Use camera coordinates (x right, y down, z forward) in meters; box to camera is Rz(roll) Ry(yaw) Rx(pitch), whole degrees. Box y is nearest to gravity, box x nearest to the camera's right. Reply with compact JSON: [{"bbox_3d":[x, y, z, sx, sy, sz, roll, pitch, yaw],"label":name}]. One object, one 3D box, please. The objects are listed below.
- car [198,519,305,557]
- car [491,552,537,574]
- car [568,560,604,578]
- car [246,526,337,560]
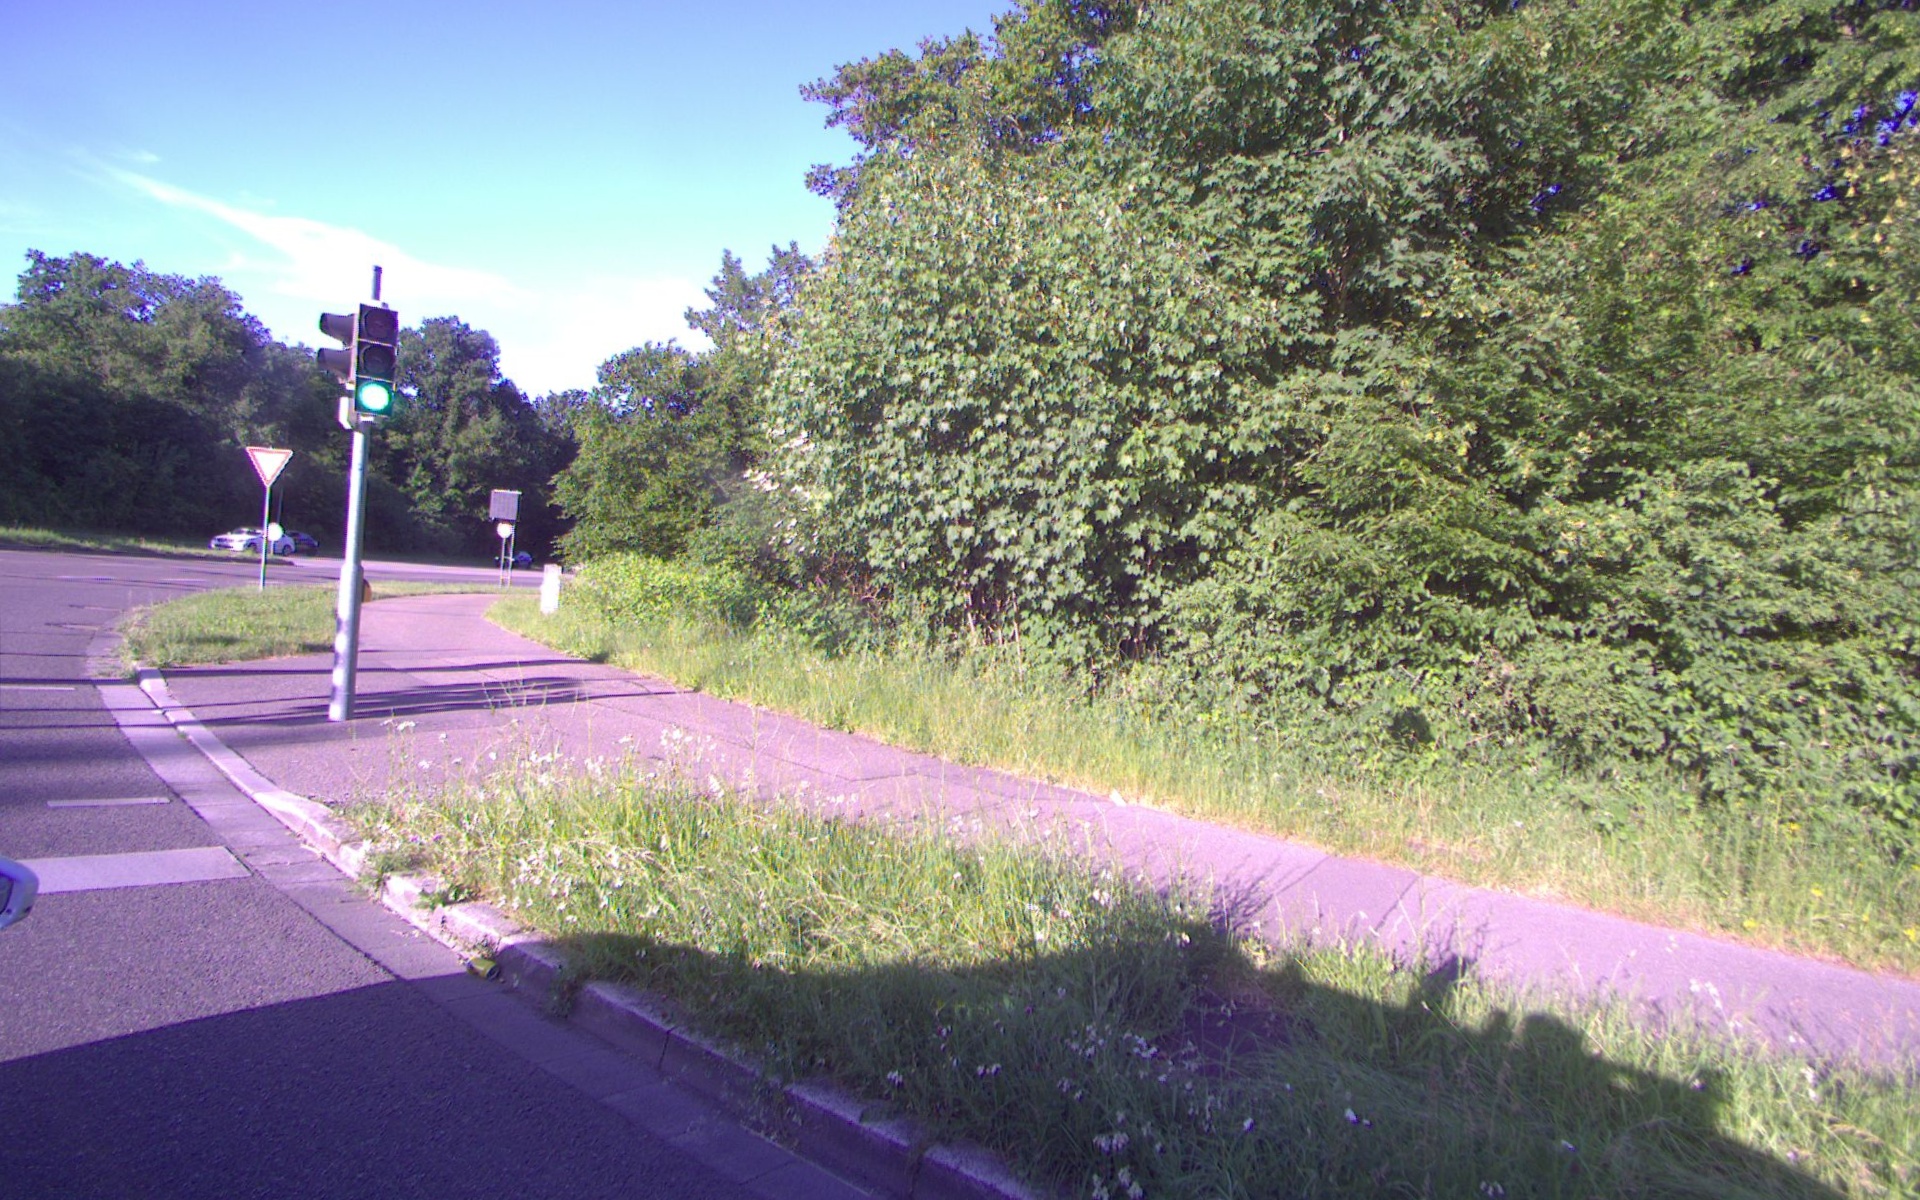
[{"bbox_3d":[-36.101,-3.131,51.449,1.963,1.454,4.806,6,0,0],"label":"car"},{"bbox_3d":[-39.900,-3.287,90.111,1.963,1.548,4.649,6,0,-2],"label":"car"},{"bbox_3d":[-39.347,-3.201,105.904,1.963,1.548,4.650,6,0,0],"label":"car"},{"bbox_3d":[-38.771,-3.288,58.522,1.963,1.454,4.806,6,0,0],"label":"car"}]
